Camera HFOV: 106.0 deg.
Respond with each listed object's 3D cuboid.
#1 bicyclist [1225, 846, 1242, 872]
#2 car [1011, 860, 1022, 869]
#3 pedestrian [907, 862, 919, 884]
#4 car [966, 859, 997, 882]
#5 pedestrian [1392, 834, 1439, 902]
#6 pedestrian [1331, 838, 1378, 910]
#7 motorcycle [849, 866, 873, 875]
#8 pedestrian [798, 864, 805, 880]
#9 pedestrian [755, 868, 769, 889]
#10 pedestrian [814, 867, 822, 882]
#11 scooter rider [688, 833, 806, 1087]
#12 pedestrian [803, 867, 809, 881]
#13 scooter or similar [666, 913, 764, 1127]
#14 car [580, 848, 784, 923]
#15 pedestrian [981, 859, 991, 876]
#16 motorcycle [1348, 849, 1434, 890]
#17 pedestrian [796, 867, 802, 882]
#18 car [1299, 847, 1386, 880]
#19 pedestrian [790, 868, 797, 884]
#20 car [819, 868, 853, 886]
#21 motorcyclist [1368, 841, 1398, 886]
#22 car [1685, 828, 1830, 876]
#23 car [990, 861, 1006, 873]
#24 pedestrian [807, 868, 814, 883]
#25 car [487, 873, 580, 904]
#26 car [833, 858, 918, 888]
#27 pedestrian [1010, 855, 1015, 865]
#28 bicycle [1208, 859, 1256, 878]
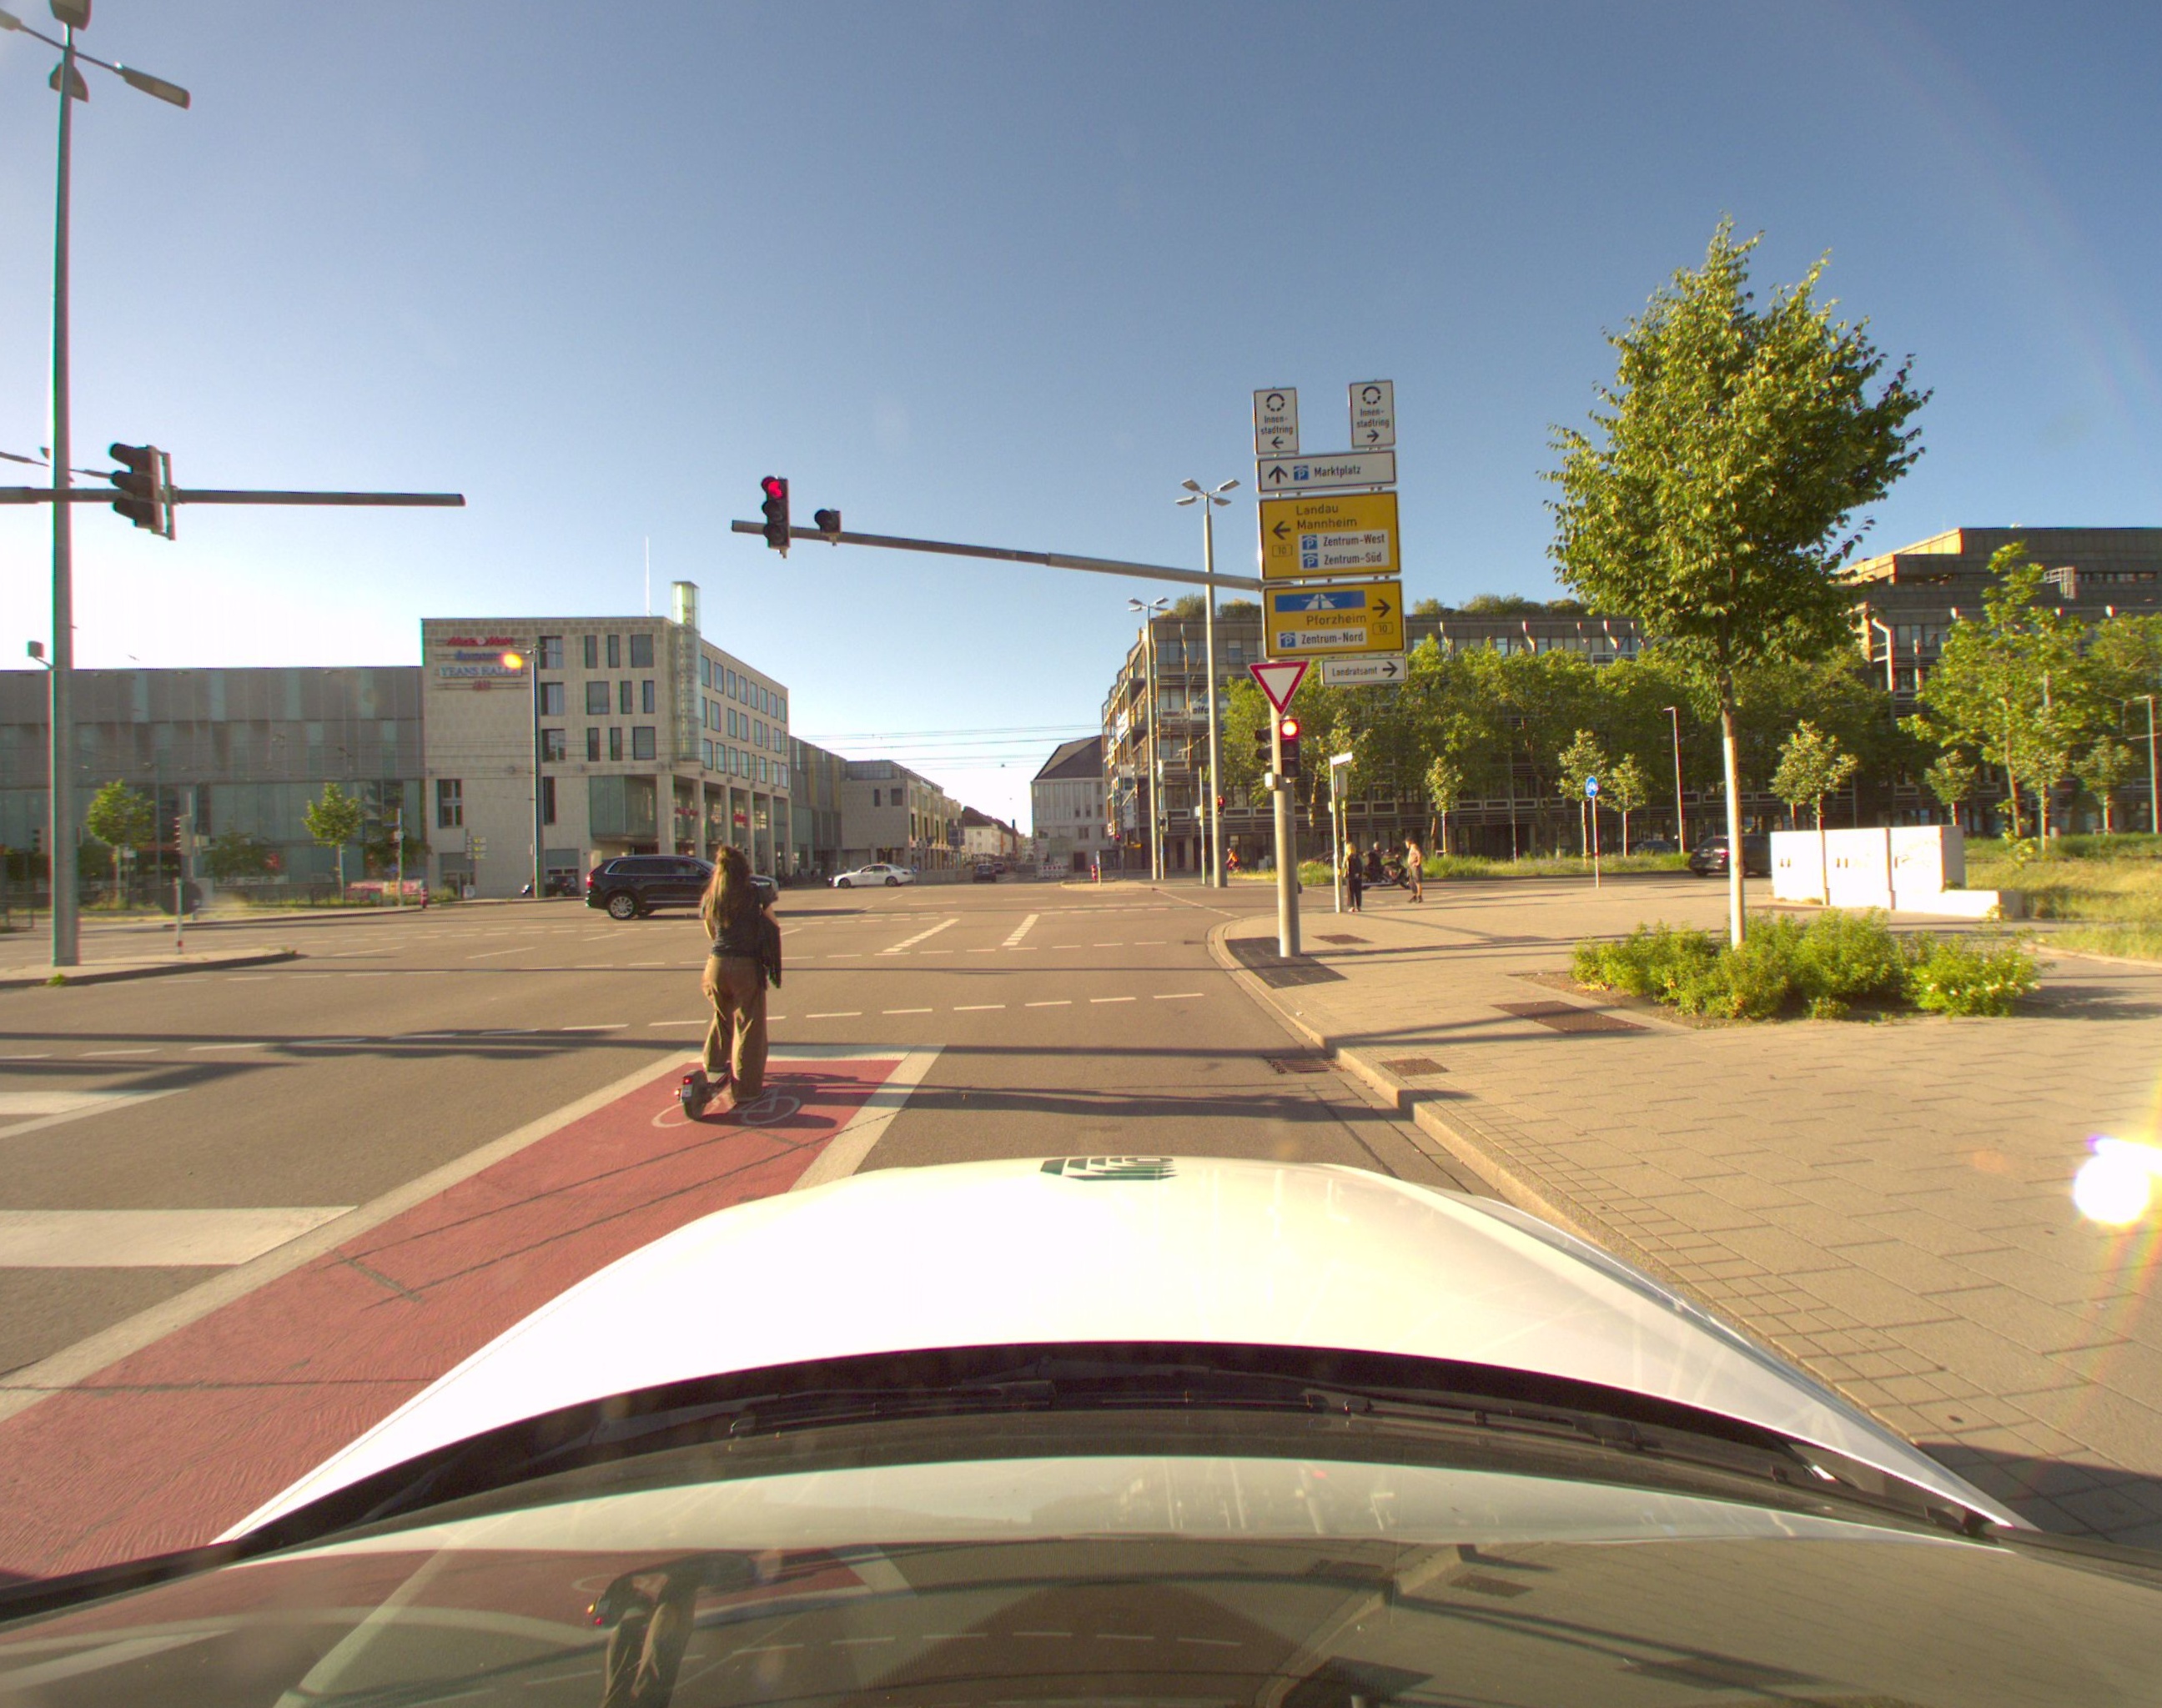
[{"bbox_3d":[8.828,0.306,47.074,0.820,1.474,0.652,-2,0,-2],"label":"bicyclist"},{"bbox_3d":[-11.615,1.848,146.442,1.652,1.458,3.543,-2,0,2],"label":"car"},{"bbox_3d":[-13.118,1.447,63.553,0.697,1.688,0.620,-2,0,2],"label":"pedestrian"},{"bbox_3d":[-7.808,1.308,63.861,1.823,1.684,3.979,-2,0,-15],"label":"car"},{"bbox_3d":[8.645,0.362,21.072,0.869,1.706,0.768,-2,0,0],"label":"pedestrian"},{"bbox_3d":[6.348,0.448,18.930,0.763,1.614,0.874,-2,0,0],"label":"pedestrian"},{"bbox_3d":[-26.697,1.997,98.831,2.600,0.993,1.113,0,-1,-8],"label":"motorcycle"},{"bbox_3d":[-31.304,2.010,91.254,0.465,1.729,0.632,-1,-1,35],"label":"pedestrian"},{"bbox_3d":[-24.988,1.897,63.806,0.772,1.638,0.627,-2,0,7],"label":"pedestrian"},{"bbox_3d":[-29.770,2.317,92.194,0.465,1.729,0.699,-1,-1,40],"label":"pedestrian"},{"bbox_3d":[-2.124,0.645,5.218,0.552,1.530,0.448,-2,0,-7],"label":"scooter rider"},{"bbox_3d":[-31.842,2.325,94.245,0.465,1.683,0.524,-1,-1,40],"label":"pedestrian"},{"bbox_3d":[-2.191,0.949,4.936,0.306,1.107,0.835,-2,0,-9],"label":"scooter or similar"},{"bbox_3d":[-11.181,0.853,23.188,4.820,1.864,1.878,-2,0,-12],"label":"car"},{"bbox_3d":[-10.341,1.440,88.271,0.896,1.782,0.809,-2,0,1],"label":"pedestrian"},{"bbox_3d":[10.160,0.487,26.689,2.592,1.208,0.728,-2,1,-8],"label":"motorcycle"},{"bbox_3d":[-32.661,2.355,94.297,0.465,1.729,0.524,-1,-1,40],"label":"pedestrian"},{"bbox_3d":[14.824,0.519,46.263,4.287,1.684,1.820,-2,0,-9],"label":"car"},{"bbox_3d":[-32.806,2.508,92.962,0.465,1.729,0.524,-1,-1,40],"label":"pedestrian"},{"bbox_3d":[-21.162,1.975,70.460,1.670,1.357,4.021,-2,0,1],"label":"car"},{"bbox_3d":[9.870,0.292,26.638,0.656,1.423,0.646,-2,1,-7],"label":"motorcyclist"},{"bbox_3d":[23.699,-0.084,28.610,3.855,1.510,1.669,-2,0,-6],"label":"car"},{"bbox_3d":[-11.017,1.751,108.530,1.652,1.458,3.543,-2,0,2],"label":"car"},{"bbox_3d":[-31.231,2.462,94.160,0.465,1.729,0.632,-1,-1,30],"label":"pedestrian"},{"bbox_3d":[-33.756,2.081,50.268,4.392,1.684,1.824,-2,0,-2],"label":"car"},{"bbox_3d":[-12.903,1.193,51.291,4.828,1.684,1.825,-2,0,0],"label":"car"},{"bbox_3d":[-13.903,1.191,165.264,0.907,1.965,0.823,0,-1,1],"label":"pedestrian"},{"bbox_3d":[8.699,0.819,47.057,2.561,0.975,1.047,-2,0,-1],"label":"bicycle"}]
